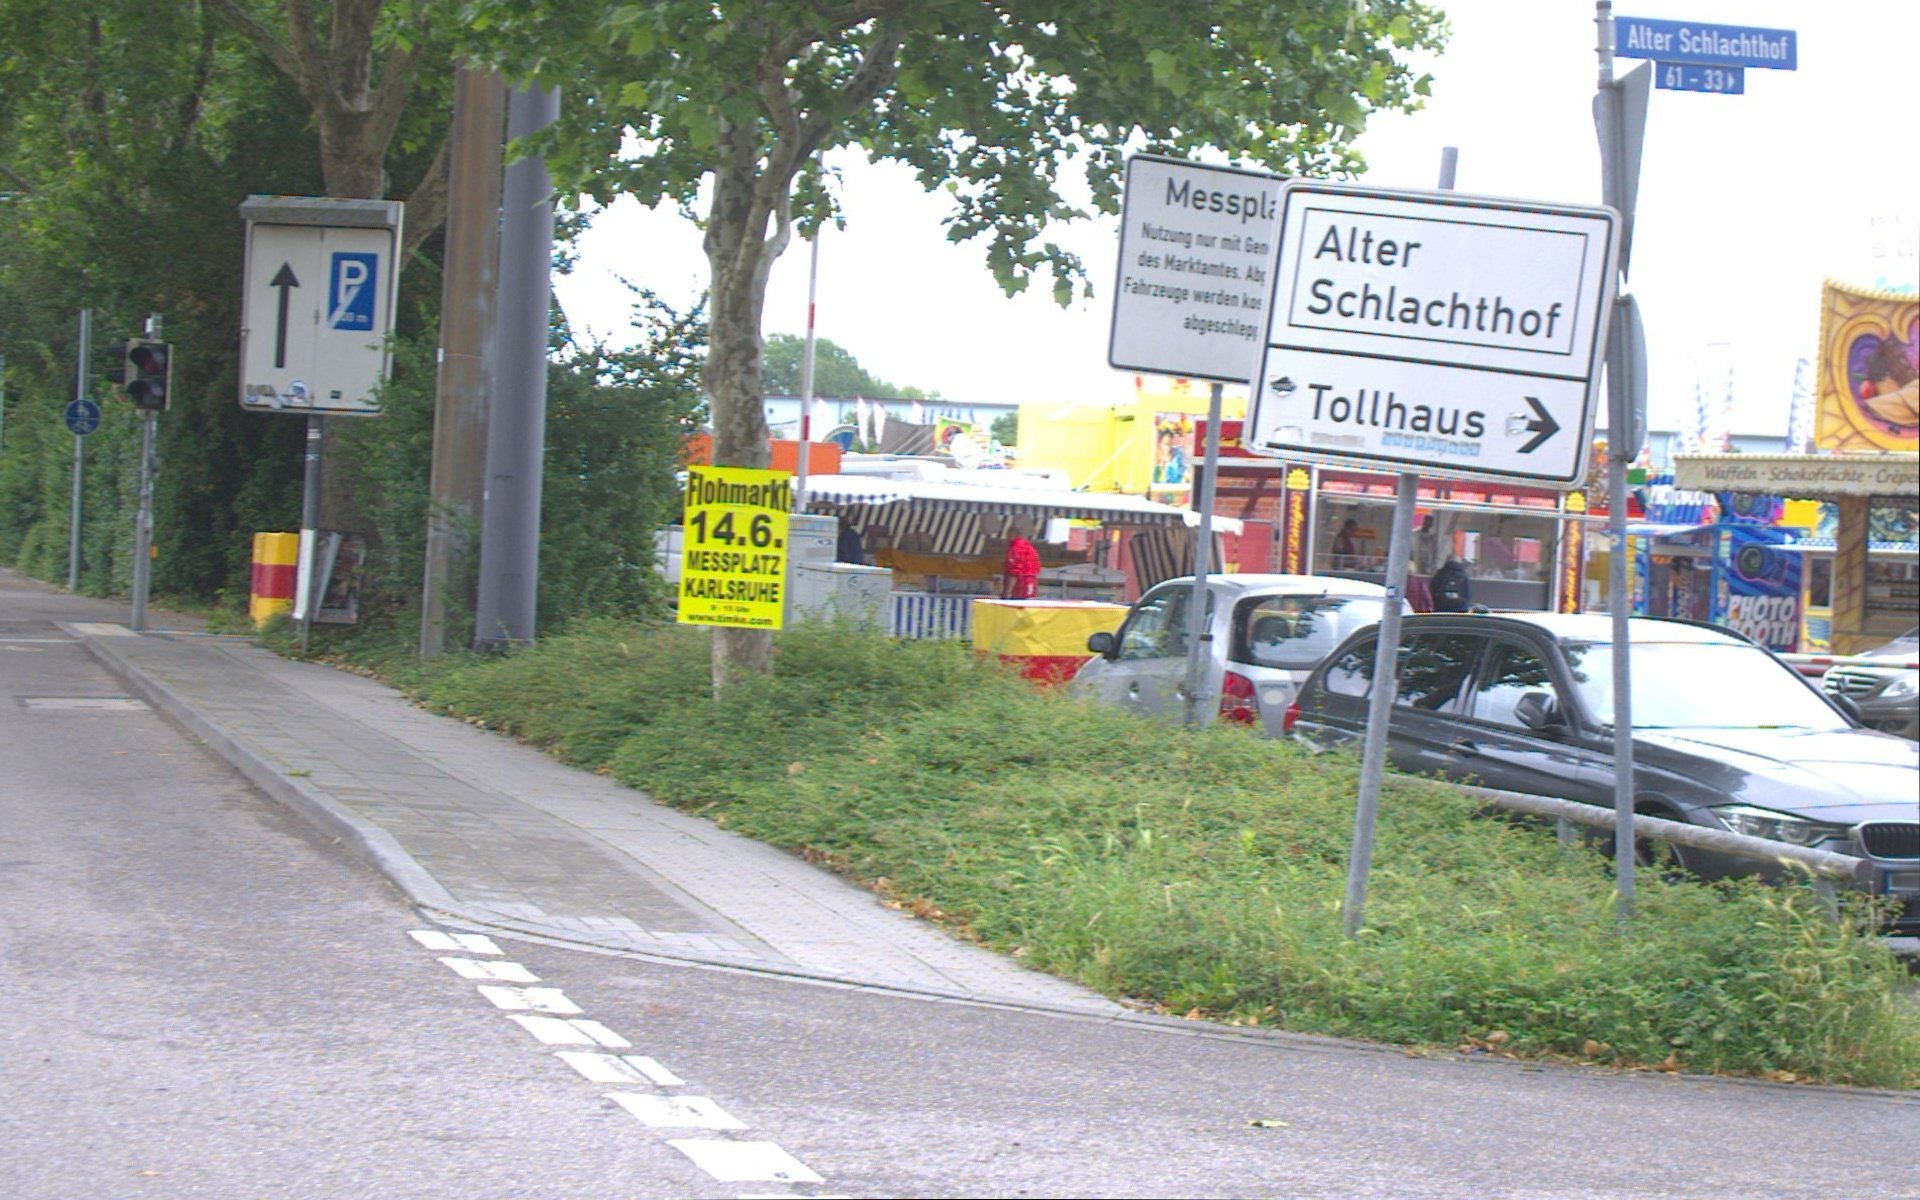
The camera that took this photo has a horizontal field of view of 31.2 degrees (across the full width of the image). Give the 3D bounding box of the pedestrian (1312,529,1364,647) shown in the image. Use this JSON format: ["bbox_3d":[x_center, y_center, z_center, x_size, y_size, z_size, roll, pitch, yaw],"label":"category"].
[{"bbox_3d":[5.490,-0.177,49.940,0.492,1.681,0.524,3,0,-20],"label":"pedestrian"}]

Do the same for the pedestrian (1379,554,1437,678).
[{"bbox_3d":[6.187,0.219,47.507,0.522,1.681,0.494,3,0,-34],"label":"pedestrian"}]

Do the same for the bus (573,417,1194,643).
[{"bbox_3d":[-1.119,-1.033,52.952,9.274,2.949,2.001,3,0,-20],"label":"bus"}]

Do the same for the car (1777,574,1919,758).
[{"bbox_3d":[10.096,0.671,31.659,4.572,1.570,2.001,3,0,-19],"label":"car"}]

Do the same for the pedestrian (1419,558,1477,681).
[{"bbox_3d":[6.808,0.273,48.003,0.522,1.681,0.494,3,0,-34],"label":"pedestrian"}]

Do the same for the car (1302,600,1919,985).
[{"bbox_3d":[3.380,0.808,15.906,1.862,1.425,4.001,3,1,-22],"label":"car"}]

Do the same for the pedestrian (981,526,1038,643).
[{"bbox_3d":[0.627,-0.199,43.670,0.492,1.458,0.524,3,0,-20],"label":"pedestrian"}]

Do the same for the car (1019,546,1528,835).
[{"bbox_3d":[1.881,0.510,22.008,1.862,1.589,4.001,3,1,-16],"label":"car"}]

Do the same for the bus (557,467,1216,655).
[{"bbox_3d":[-1.003,-0.533,49.712,9.274,2.220,2.001,3,0,-20],"label":"bus"}]
